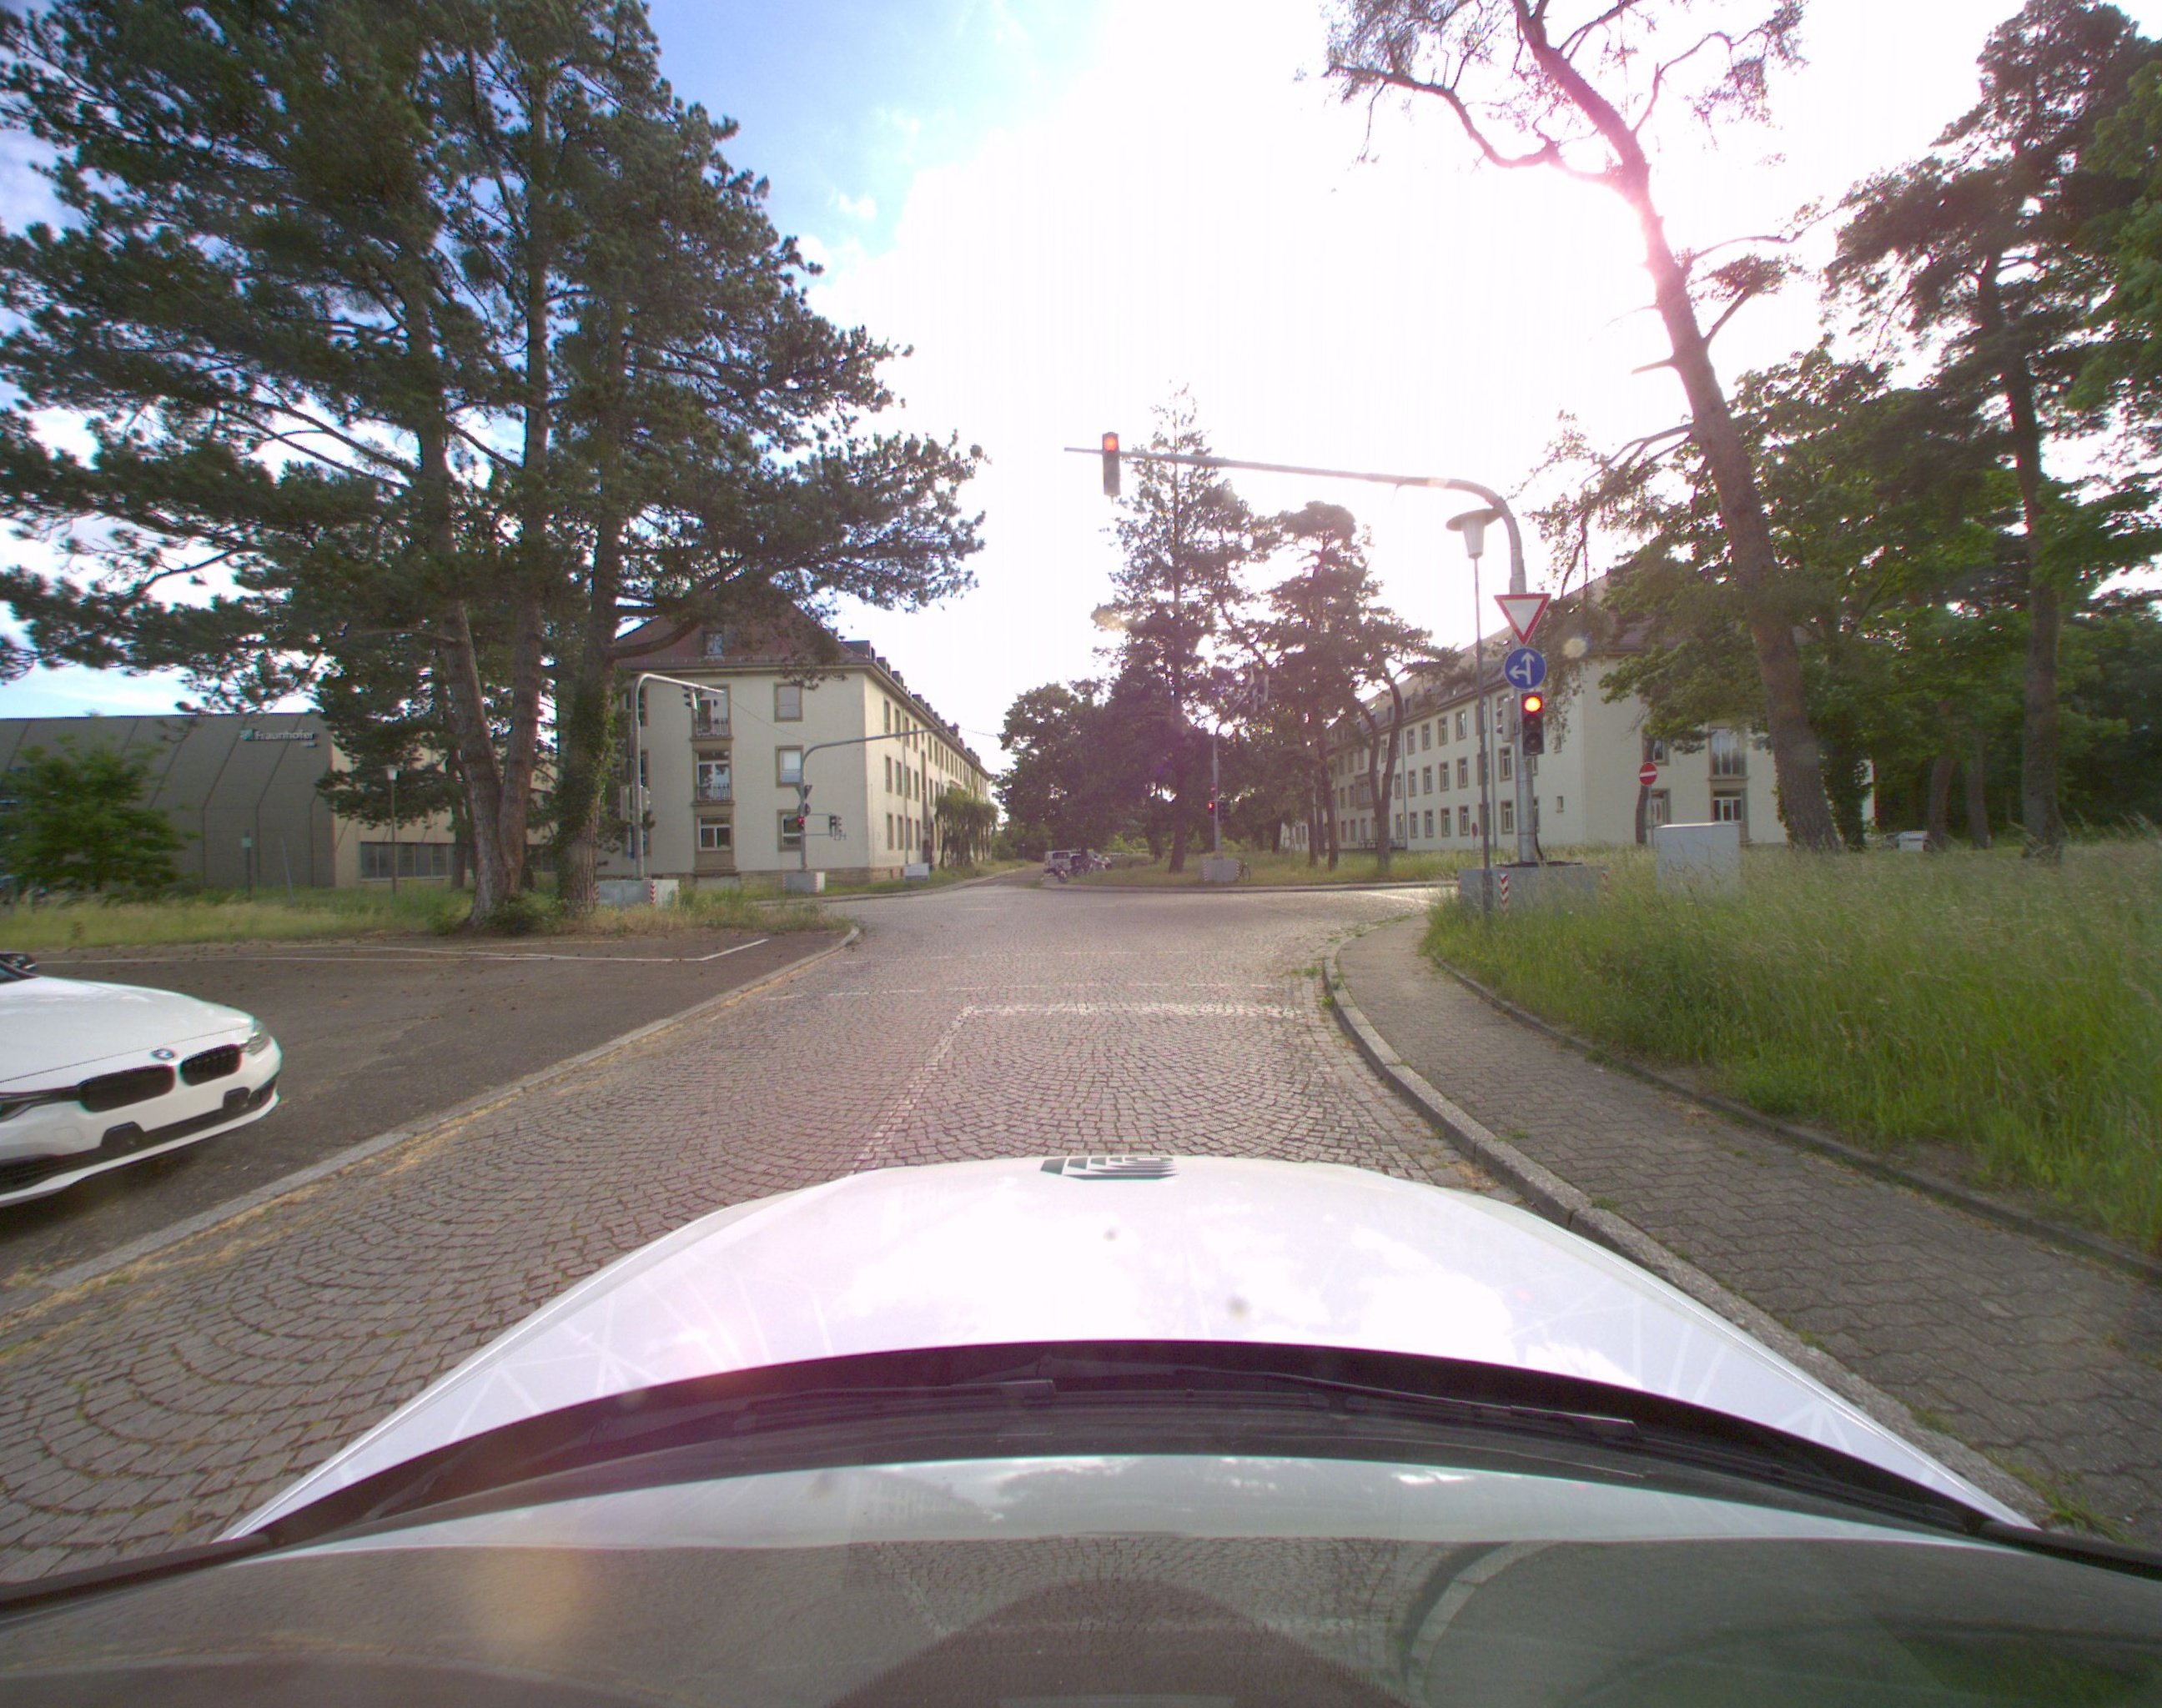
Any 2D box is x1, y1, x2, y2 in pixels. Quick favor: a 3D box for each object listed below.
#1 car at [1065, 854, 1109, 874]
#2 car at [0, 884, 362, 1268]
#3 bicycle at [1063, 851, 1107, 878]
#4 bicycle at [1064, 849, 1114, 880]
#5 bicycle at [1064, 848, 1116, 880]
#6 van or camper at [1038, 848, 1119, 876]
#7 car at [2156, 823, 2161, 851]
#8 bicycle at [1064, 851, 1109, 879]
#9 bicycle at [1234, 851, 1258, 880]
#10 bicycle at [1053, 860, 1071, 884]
[{"bbox_3d":[0.433,0.707,60.377,3.134,1.354,1.616,-2,0,-7],"label":"car"},{"bbox_3d":[-6.572,0.890,3.865,4.470,1.442,1.827,1,0,-5],"label":"car"},{"bbox_3d":[0.265,0.677,52.080,2.766,1.694,1.120,1,0,0],"label":"bicycle"},{"bbox_3d":[0.453,0.585,47.182,2.774,1.694,1.117,-2,0,-9],"label":"bicycle"},{"bbox_3d":[0.490,0.555,45.988,2.772,1.694,1.118,-2,0,-7],"label":"bicycle"},{"bbox_3d":[-0.235,0.611,63.940,6.042,1.948,1.990,-2,0,-15],"label":"van or camper"},{"bbox_3d":[56.625,-0.842,40.646,3.975,1.398,1.563,1,0,-1],"label":"car"},{"bbox_3d":[0.363,0.688,50.744,2.764,1.694,1.121,0,0,3],"label":"bicycle"},{"bbox_3d":[6.945,0.461,34.335,0.720,1.169,2.741,0,0,6],"label":"bicycle"},{"bbox_3d":[-0.947,0.886,41.675,0.723,1.107,2.462,-6,0,1],"label":"bicycle"}]
